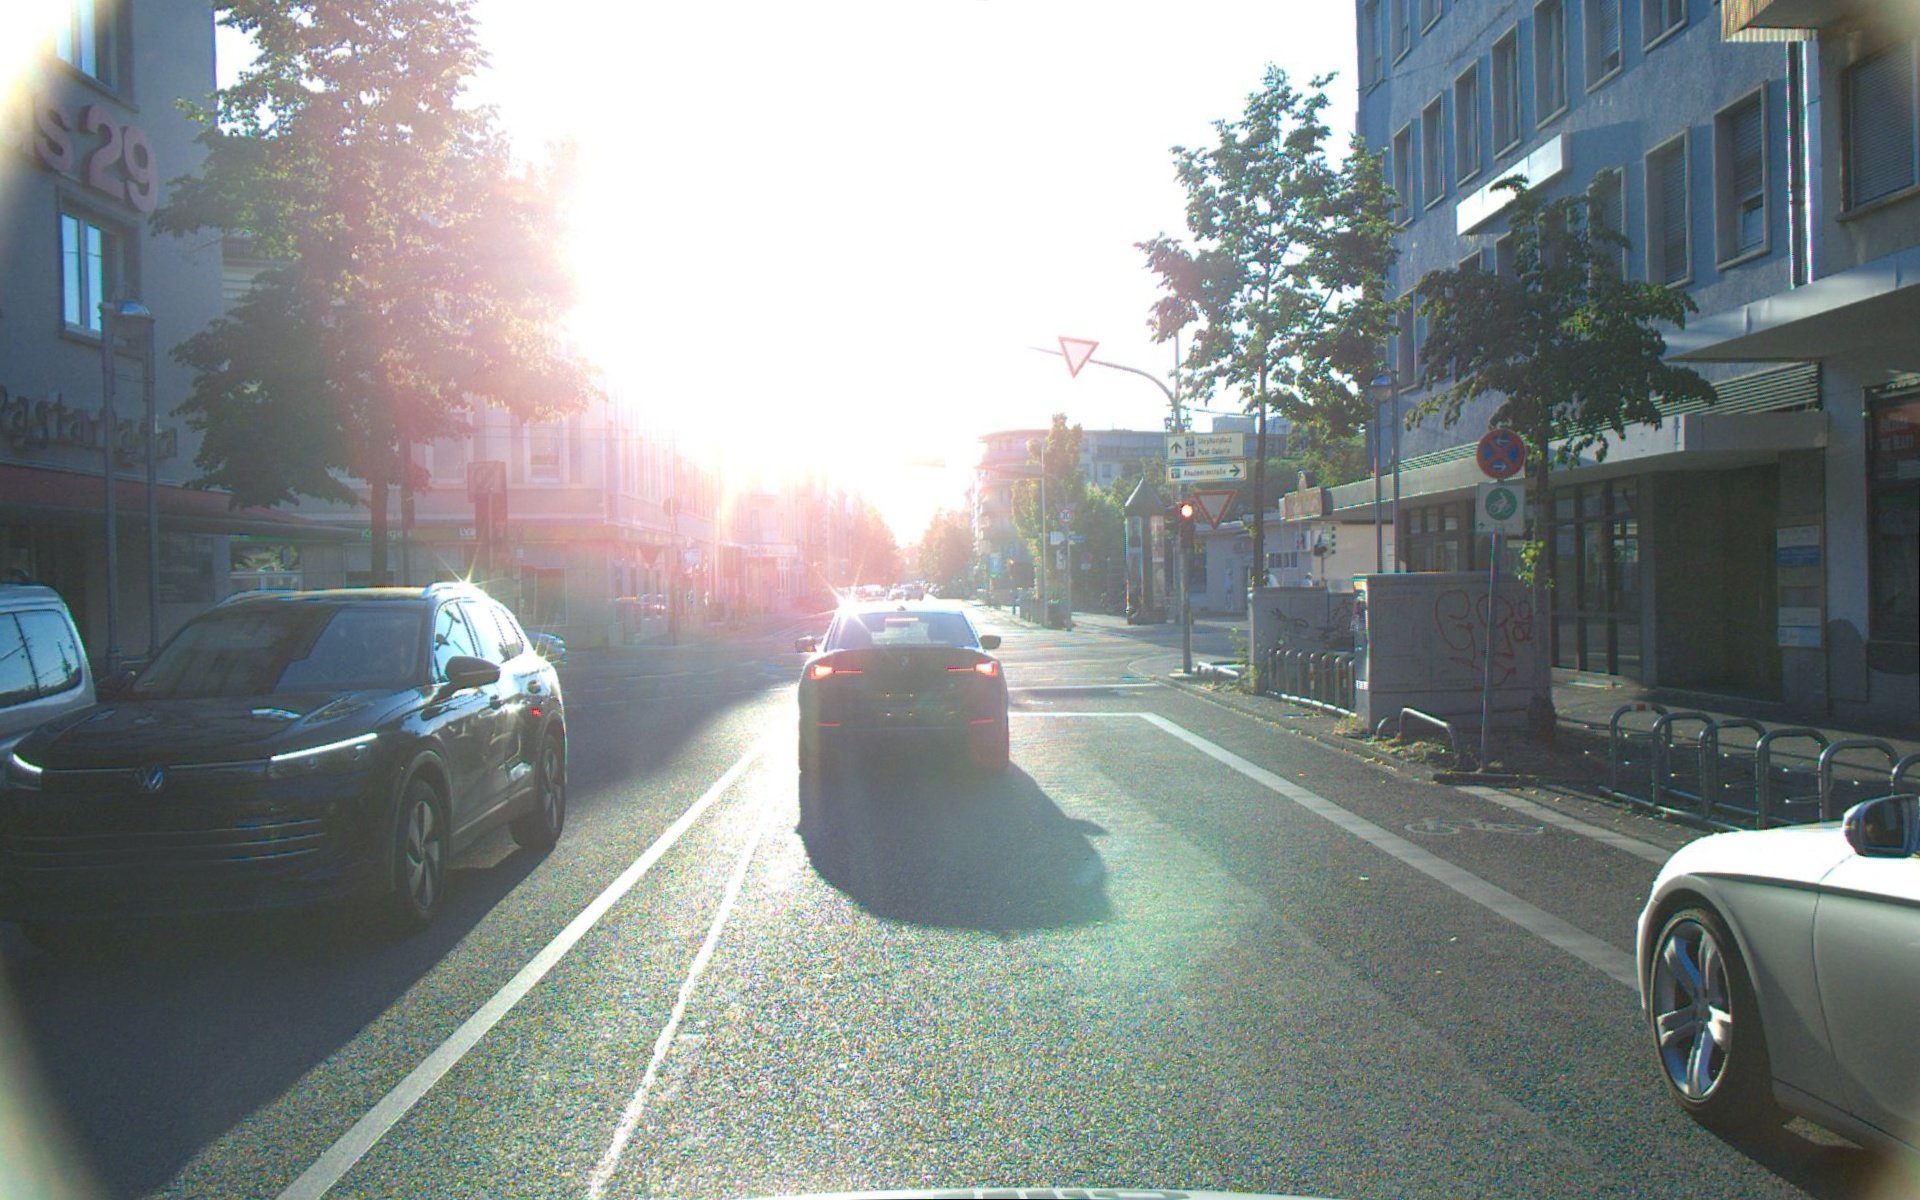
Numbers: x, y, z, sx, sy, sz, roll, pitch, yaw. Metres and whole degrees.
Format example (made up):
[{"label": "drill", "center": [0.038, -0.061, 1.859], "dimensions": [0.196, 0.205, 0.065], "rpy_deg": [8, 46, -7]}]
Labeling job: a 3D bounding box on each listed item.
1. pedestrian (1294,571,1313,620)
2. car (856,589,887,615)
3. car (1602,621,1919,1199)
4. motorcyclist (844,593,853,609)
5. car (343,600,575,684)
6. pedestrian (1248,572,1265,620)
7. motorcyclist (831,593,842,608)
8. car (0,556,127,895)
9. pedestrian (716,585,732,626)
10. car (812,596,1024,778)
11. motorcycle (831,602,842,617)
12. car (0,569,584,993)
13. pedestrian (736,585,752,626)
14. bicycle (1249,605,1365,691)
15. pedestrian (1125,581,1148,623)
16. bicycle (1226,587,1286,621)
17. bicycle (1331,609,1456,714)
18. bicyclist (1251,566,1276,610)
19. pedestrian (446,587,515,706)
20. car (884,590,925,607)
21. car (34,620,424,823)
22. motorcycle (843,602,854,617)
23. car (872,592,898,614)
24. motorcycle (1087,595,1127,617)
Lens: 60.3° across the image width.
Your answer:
[{"label": "pedestrian", "center": [12.585, -0.168, 60.566], "dimensions": [0.472, 1.765, 0.527], "rpy_deg": [1, 0, -26]}, {"label": "car", "center": [-5.588, 0.131, 104.789], "dimensions": [1.781, 1.545, 3.999], "rpy_deg": [-1, 0, -1]}, {"label": "car", "center": [3.076, 0.803, 3.196], "dimensions": [1.707, 1.425, 4.637], "rpy_deg": [0, 0, -2]}, {"label": "motorcyclist", "center": [-7.032, 0.063, 104.204], "dimensions": [0.563, 1.013, 0.702], "rpy_deg": [1, 0, -1]}, {"label": "car", "center": [-10.187, 0.812, 33.657], "dimensions": [4.256, 1.524, 1.983], "rpy_deg": [-1, 0, -27]}, {"label": "pedestrian", "center": [10.915, -0.151, 60.892], "dimensions": [0.436, 1.765, 0.430], "rpy_deg": [1, 0, -26]}, {"label": "motorcyclist", "center": [-7.825, 0.053, 104.935], "dimensions": [0.563, 0.931, 2.200], "rpy_deg": [1, 0, -1]}, {"label": "car", "center": [-6.265, 0.753, 8.915], "dimensions": [1.636, 1.920, 4.050], "rpy_deg": [-3, 0, -4]}, {"label": "pedestrian", "center": [-11.096, 0.257, 77.830], "dimensions": [0.630, 1.909, 0.632], "rpy_deg": [1, 0, -2]}, {"label": "car", "center": [-0.423, 0.695, 15.457], "dimensions": [1.702, 1.453, 4.221], "rpy_deg": [0, 0, -2]}, {"label": "motorcycle", "center": [-7.835, 0.594, 105.031], "dimensions": [0.563, 0.931, 2.200], "rpy_deg": [1, 0, -1]}, {"label": "car", "center": [-3.359, 0.732, 9.006], "dimensions": [1.695, 1.704, 4.294], "rpy_deg": [-2, 1, -1]}, {"label": "pedestrian", "center": [-10.185, 0.265, 78.001], "dimensions": [0.663, 1.909, 0.617], "rpy_deg": [1, 0, -2]}, {"label": "bicycle", "center": [4.945, 0.679, 23.594], "dimensions": [1.580, 1.191, 0.318], "rpy_deg": [-1, 0, 0]}, {"label": "pedestrian", "center": [6.568, 0.067, 61.465], "dimensions": [0.721, 1.556, 0.470], "rpy_deg": [1, 0, -19]}, {"label": "bicycle", "center": [10.441, 0.152, 58.429], "dimensions": [2.104, 1.179, 0.549], "rpy_deg": [0, -1, 40]}, {"label": "bicycle", "center": [5.258, 0.740, 20.093], "dimensions": [1.411, 1.241, 0.383], "rpy_deg": [1, 0, 0]}, {"label": "bicyclist", "center": [10.692, -0.416, 58.228], "dimensions": [0.709, 1.507, 0.549], "rpy_deg": [0, -1, 39]}, {"label": "pedestrian", "center": [-7.941, 0.759, 27.384], "dimensions": [0.987, 1.893, 0.636], "rpy_deg": [-2, 1, -22]}, {"label": "car", "center": [-5.504, -0.127, 164.737], "dimensions": [1.790, 1.545, 3.978], "rpy_deg": [-1, 0, 41]}, {"label": "car", "center": [-6.383, 0.968, 15.022], "dimensions": [1.688, 1.440, 4.278], "rpy_deg": [-3, 0, -2]}, {"label": "motorcycle", "center": [-7.046, 0.604, 104.314], "dimensions": [0.563, 0.931, 2.200], "rpy_deg": [1, 0, -1]}, {"label": "car", "center": [-5.565, 0.192, 123.218], "dimensions": [1.781, 1.545, 3.999], "rpy_deg": [-1, 0, -1]}, {"label": "motorcycle", "center": [6.764, 0.288, 76.073], "dimensions": [1.640, 0.955, 0.853], "rpy_deg": [-1, 0, -13]}]
